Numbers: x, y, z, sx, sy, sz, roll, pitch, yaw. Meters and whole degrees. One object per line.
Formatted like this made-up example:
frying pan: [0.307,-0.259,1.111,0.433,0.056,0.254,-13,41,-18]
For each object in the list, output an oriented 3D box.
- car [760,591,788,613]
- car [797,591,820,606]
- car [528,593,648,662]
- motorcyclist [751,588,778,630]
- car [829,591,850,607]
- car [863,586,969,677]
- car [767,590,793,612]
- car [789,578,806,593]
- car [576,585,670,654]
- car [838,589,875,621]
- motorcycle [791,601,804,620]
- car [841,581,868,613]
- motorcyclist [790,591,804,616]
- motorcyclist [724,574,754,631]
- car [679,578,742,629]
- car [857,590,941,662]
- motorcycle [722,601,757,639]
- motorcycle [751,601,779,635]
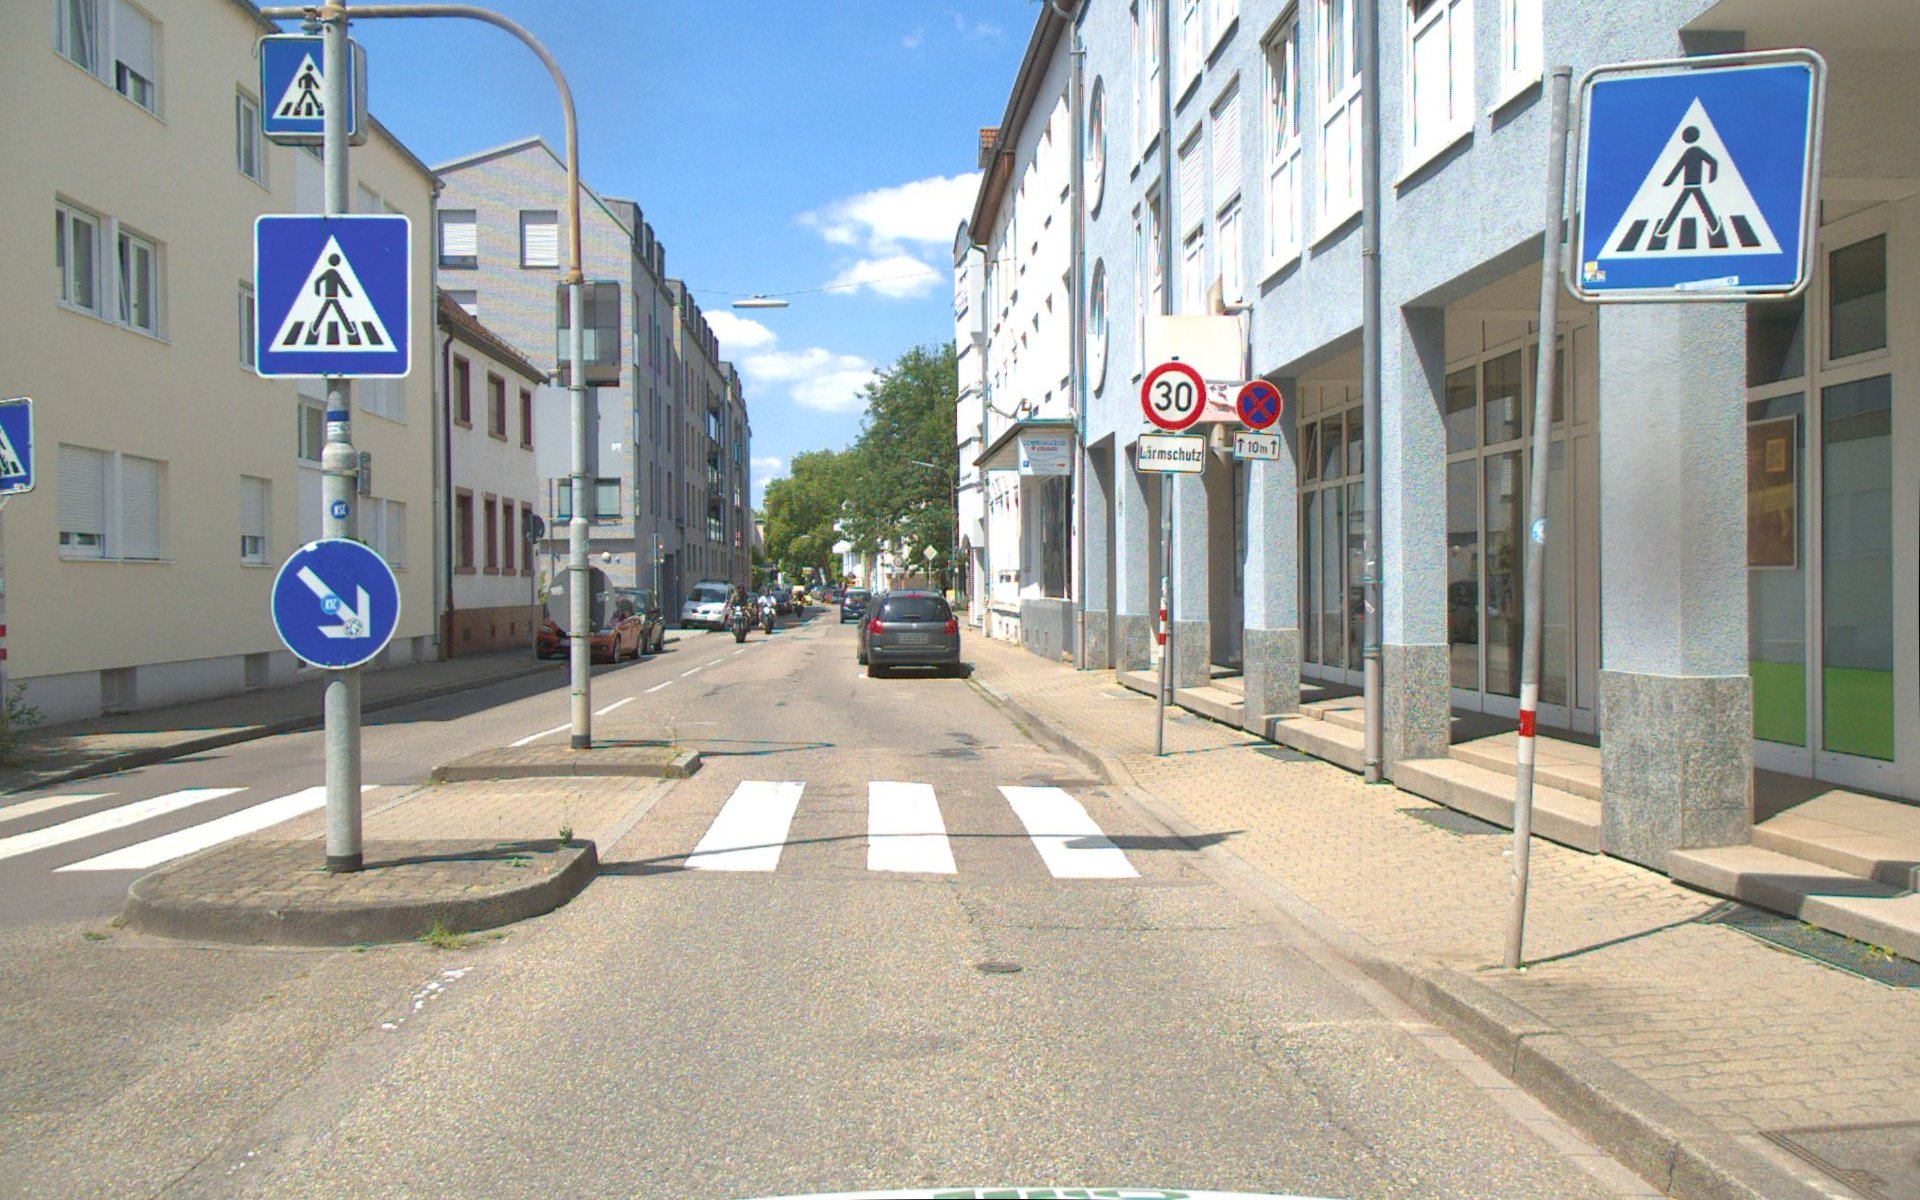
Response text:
car: [-12.693,0.134,112.819,1.698,1.467,3.997,-1,0,-4]
car: [-14.607,-0.128,159.446,1.953,1.405,4.391,1,0,-2]
car: [-8.315,0.575,37.293,1.796,1.441,4.289,-1,0,-1]
motorcyclist: [-7.049,0.322,59.738,0.898,1.506,1.202,0,0,-4]
car: [-13.008,-0.115,178.135,1.956,1.646,3.993,0,0,-8]
car: [-0.868,0.532,30.422,1.676,1.534,3.996,-1,0,-5]
car: [-12.829,0.070,117.829,1.698,1.467,3.997,-1,0,-4]
car: [-22.583,-1.967,229.478,2.117,2.049,3.991,-1,0,-10]
car: [-8.548,0.458,42.284,1.759,1.675,3.943,0,0,-3]
car: [-4.873,0.200,78.299,1.681,1.426,3.998,-1,1,-3]
motorcycle: [-10.093,0.622,102.646,0.674,1.142,2.026,-1,0,-3]
car: [-7.109,-0.229,111.780,1.802,2.049,3.998,-1,1,-3]
motorcyclist: [-10.096,0.231,102.560,0.806,1.535,1.056,-1,0,-3]
motorcyclist: [-6.579,0.072,49.247,0.698,1.663,1.069,-1,1,0]
car: [-9.789,0.112,65.132,1.721,1.925,4.336,2,1,0]
car: [-1.389,0.526,36.011,1.695,1.445,4.541,-1,0,-4]
motorcycle: [-6.572,0.580,49.346,0.698,1.046,2.239,-1,1,0]
motorcycle: [-7.043,0.645,59.736,0.878,1.196,2.206,0,0,-3]
